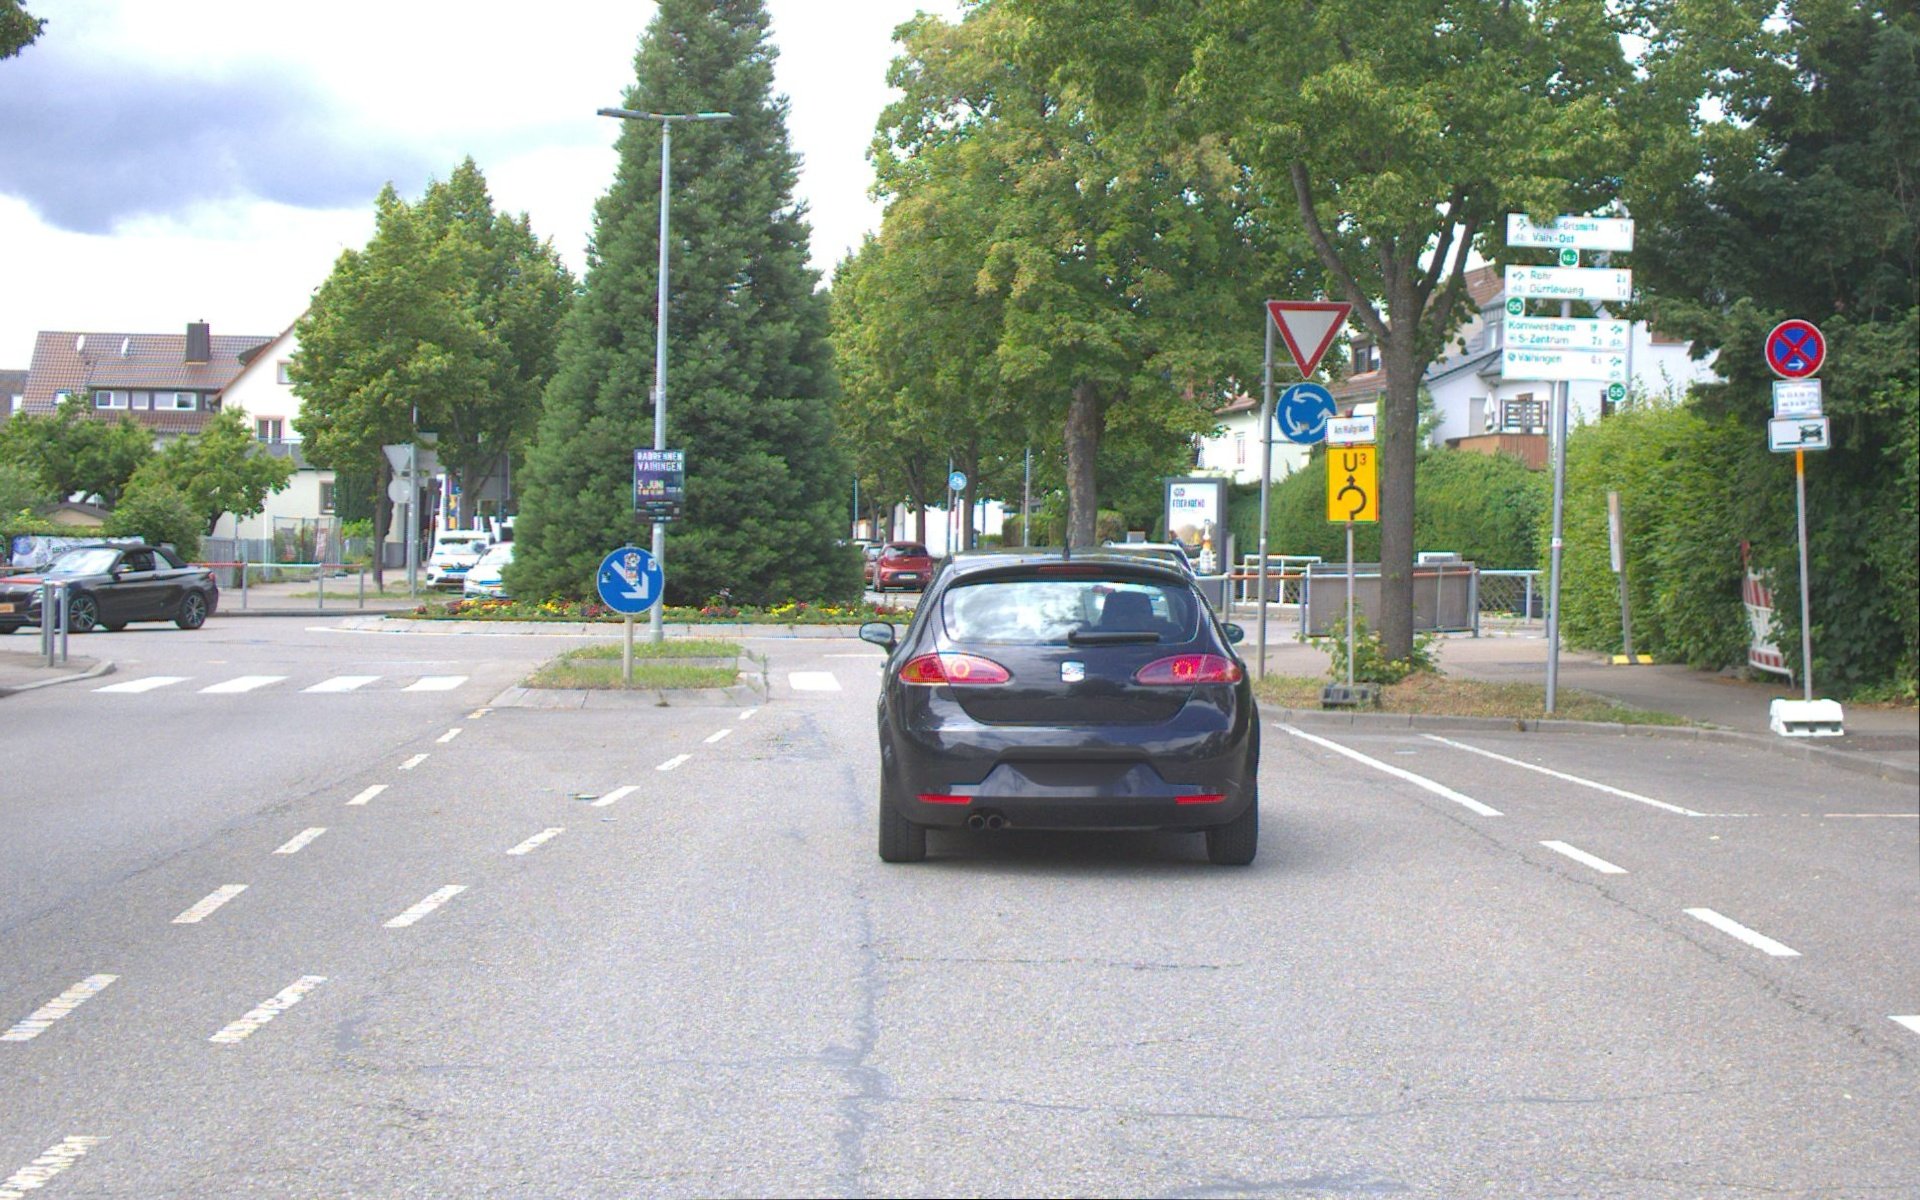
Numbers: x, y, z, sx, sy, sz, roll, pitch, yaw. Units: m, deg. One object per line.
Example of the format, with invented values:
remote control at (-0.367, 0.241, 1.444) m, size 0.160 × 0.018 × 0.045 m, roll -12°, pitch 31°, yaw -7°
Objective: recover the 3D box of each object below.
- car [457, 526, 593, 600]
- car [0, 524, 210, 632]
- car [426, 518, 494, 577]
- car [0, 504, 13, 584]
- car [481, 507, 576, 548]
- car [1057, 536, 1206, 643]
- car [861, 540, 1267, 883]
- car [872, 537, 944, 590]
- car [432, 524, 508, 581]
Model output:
car at (-9.396, -0.813, 74.526) m, size 1.870 × 1.555 × 4.258 m, roll 0°, pitch 1°, yaw 8°
car at (-13.716, -0.369, 54.334) m, size 1.571 × 1.628 × 3.615 m, roll 1°, pitch 1°, yaw 31°
car at (-16.895, -1.797, 116.315) m, size 2.029 × 1.964 × 4.001 m, roll 0°, pitch 1°, yaw -4°
car at (-21.016, -1.133, 68.952) m, size 3.588 × 1.605 × 1.600 m, roll 0°, pitch 1°, yaw 2°
car at (-20.505, -3.453, 163.446) m, size 3.990 × 1.964 × 2.035 m, roll 0°, pitch 1°, yaw 17°
car at (2.672, -0.195, 54.491) m, size 1.993 × 1.607 × 4.001 m, roll 1°, pitch 1°, yaw -2°
car at (0.395, 0.450, 16.879) m, size 1.732 × 1.481 × 4.000 m, roll 0°, pitch 1°, yaw -2°
car at (-1.541, -1.075, 100.190) m, size 1.474 × 1.484 × 3.383 m, roll 0°, pitch 1°, yaw -12°
car at (-14.006, -1.366, 98.387) m, size 1.797 × 1.596 × 4.001 m, roll 0°, pitch 1°, yaw -3°
